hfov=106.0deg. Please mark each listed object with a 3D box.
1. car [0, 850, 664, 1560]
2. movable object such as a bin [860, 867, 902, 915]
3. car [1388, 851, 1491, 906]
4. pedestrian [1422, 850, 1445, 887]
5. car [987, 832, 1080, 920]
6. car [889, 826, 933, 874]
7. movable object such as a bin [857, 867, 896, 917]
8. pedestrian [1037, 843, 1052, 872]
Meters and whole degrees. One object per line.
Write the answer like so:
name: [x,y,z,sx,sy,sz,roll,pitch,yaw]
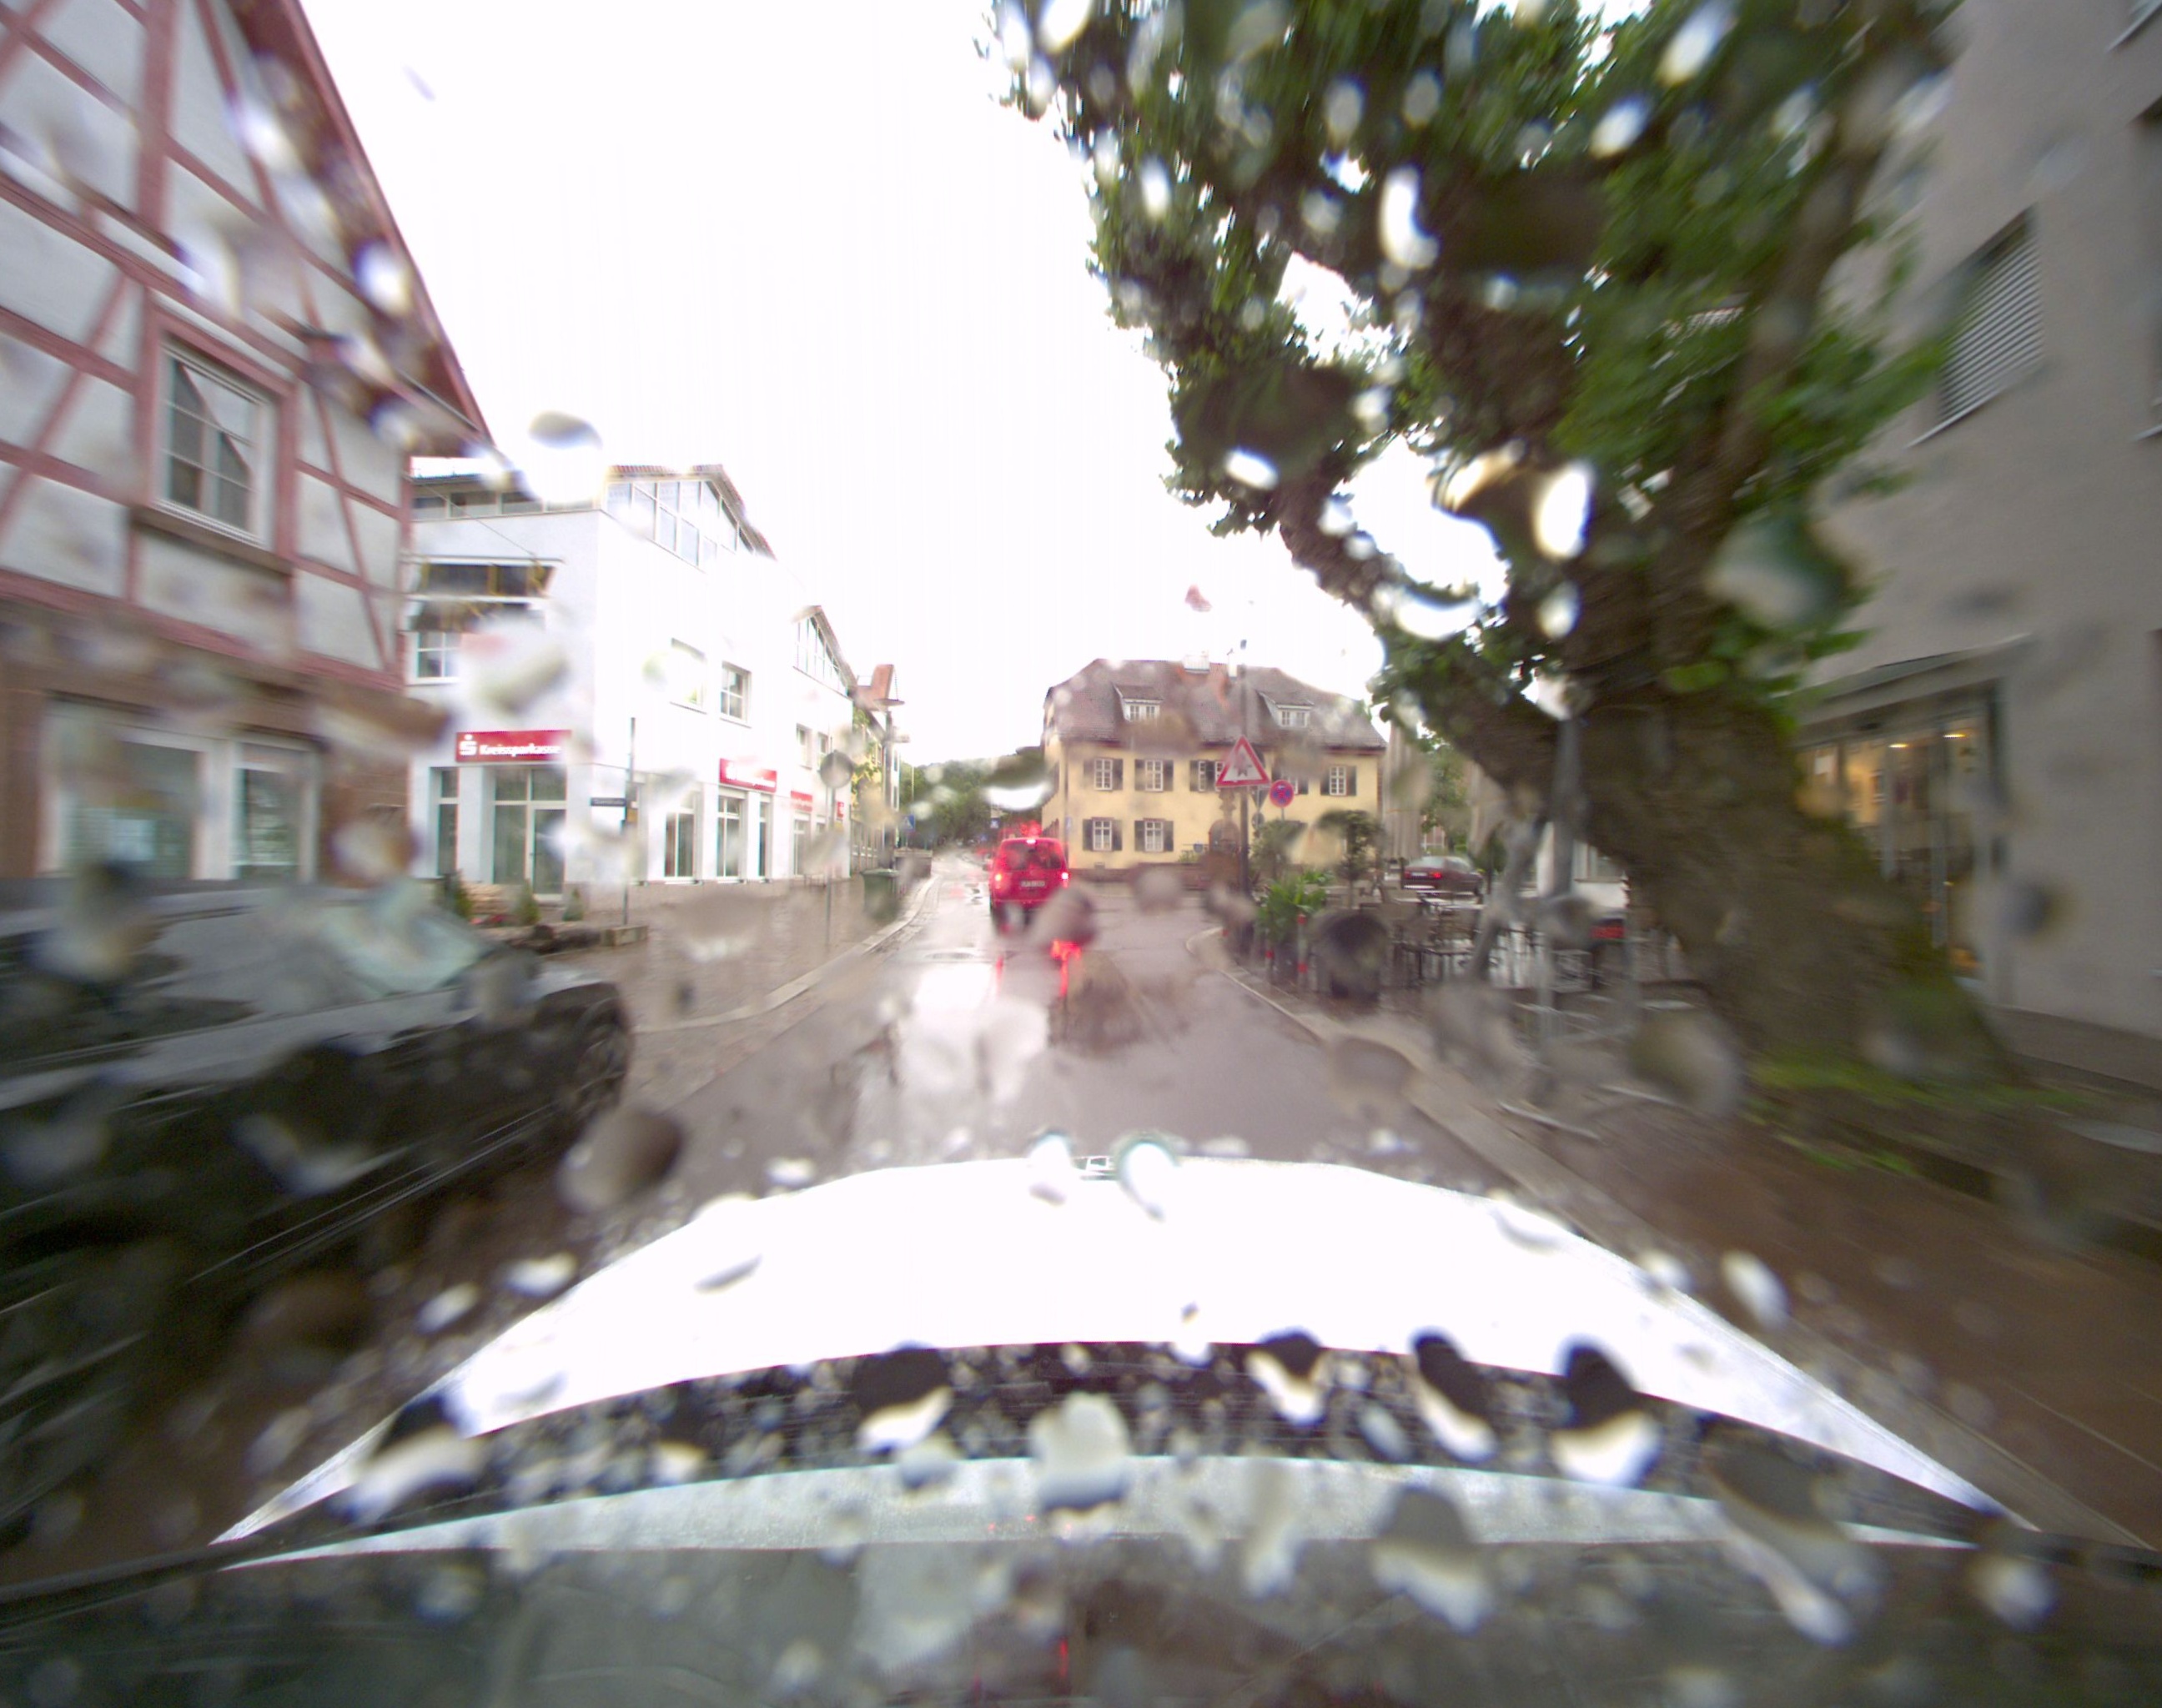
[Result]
car: [-3.304,0.755,2.897,1.784,1.495,3.994,1,0,-4]
movable object such as a bin: [-4.725,0.876,19.295,0.792,1.106,0.721,1,-2,-1]
car: [12.582,0.862,28.490,1.975,1.799,4.023,0,-2,45]
pedestrian: [18.079,0.754,41.820,0.894,1.842,0.768,1,-2,7]
car: [-1.199,0.431,19.082,1.892,1.811,3.992,2,1,-6]
car: [-10.006,-0.128,48.424,2.300,2.602,6.931,2,-2,-11]
movable object such as a bin: [-4.673,0.858,18.596,0.712,1.106,0.599,1,-2,-1]
pedestrian: [-2.356,0.246,52.698,0.759,1.842,0.904,1,-2,11]
